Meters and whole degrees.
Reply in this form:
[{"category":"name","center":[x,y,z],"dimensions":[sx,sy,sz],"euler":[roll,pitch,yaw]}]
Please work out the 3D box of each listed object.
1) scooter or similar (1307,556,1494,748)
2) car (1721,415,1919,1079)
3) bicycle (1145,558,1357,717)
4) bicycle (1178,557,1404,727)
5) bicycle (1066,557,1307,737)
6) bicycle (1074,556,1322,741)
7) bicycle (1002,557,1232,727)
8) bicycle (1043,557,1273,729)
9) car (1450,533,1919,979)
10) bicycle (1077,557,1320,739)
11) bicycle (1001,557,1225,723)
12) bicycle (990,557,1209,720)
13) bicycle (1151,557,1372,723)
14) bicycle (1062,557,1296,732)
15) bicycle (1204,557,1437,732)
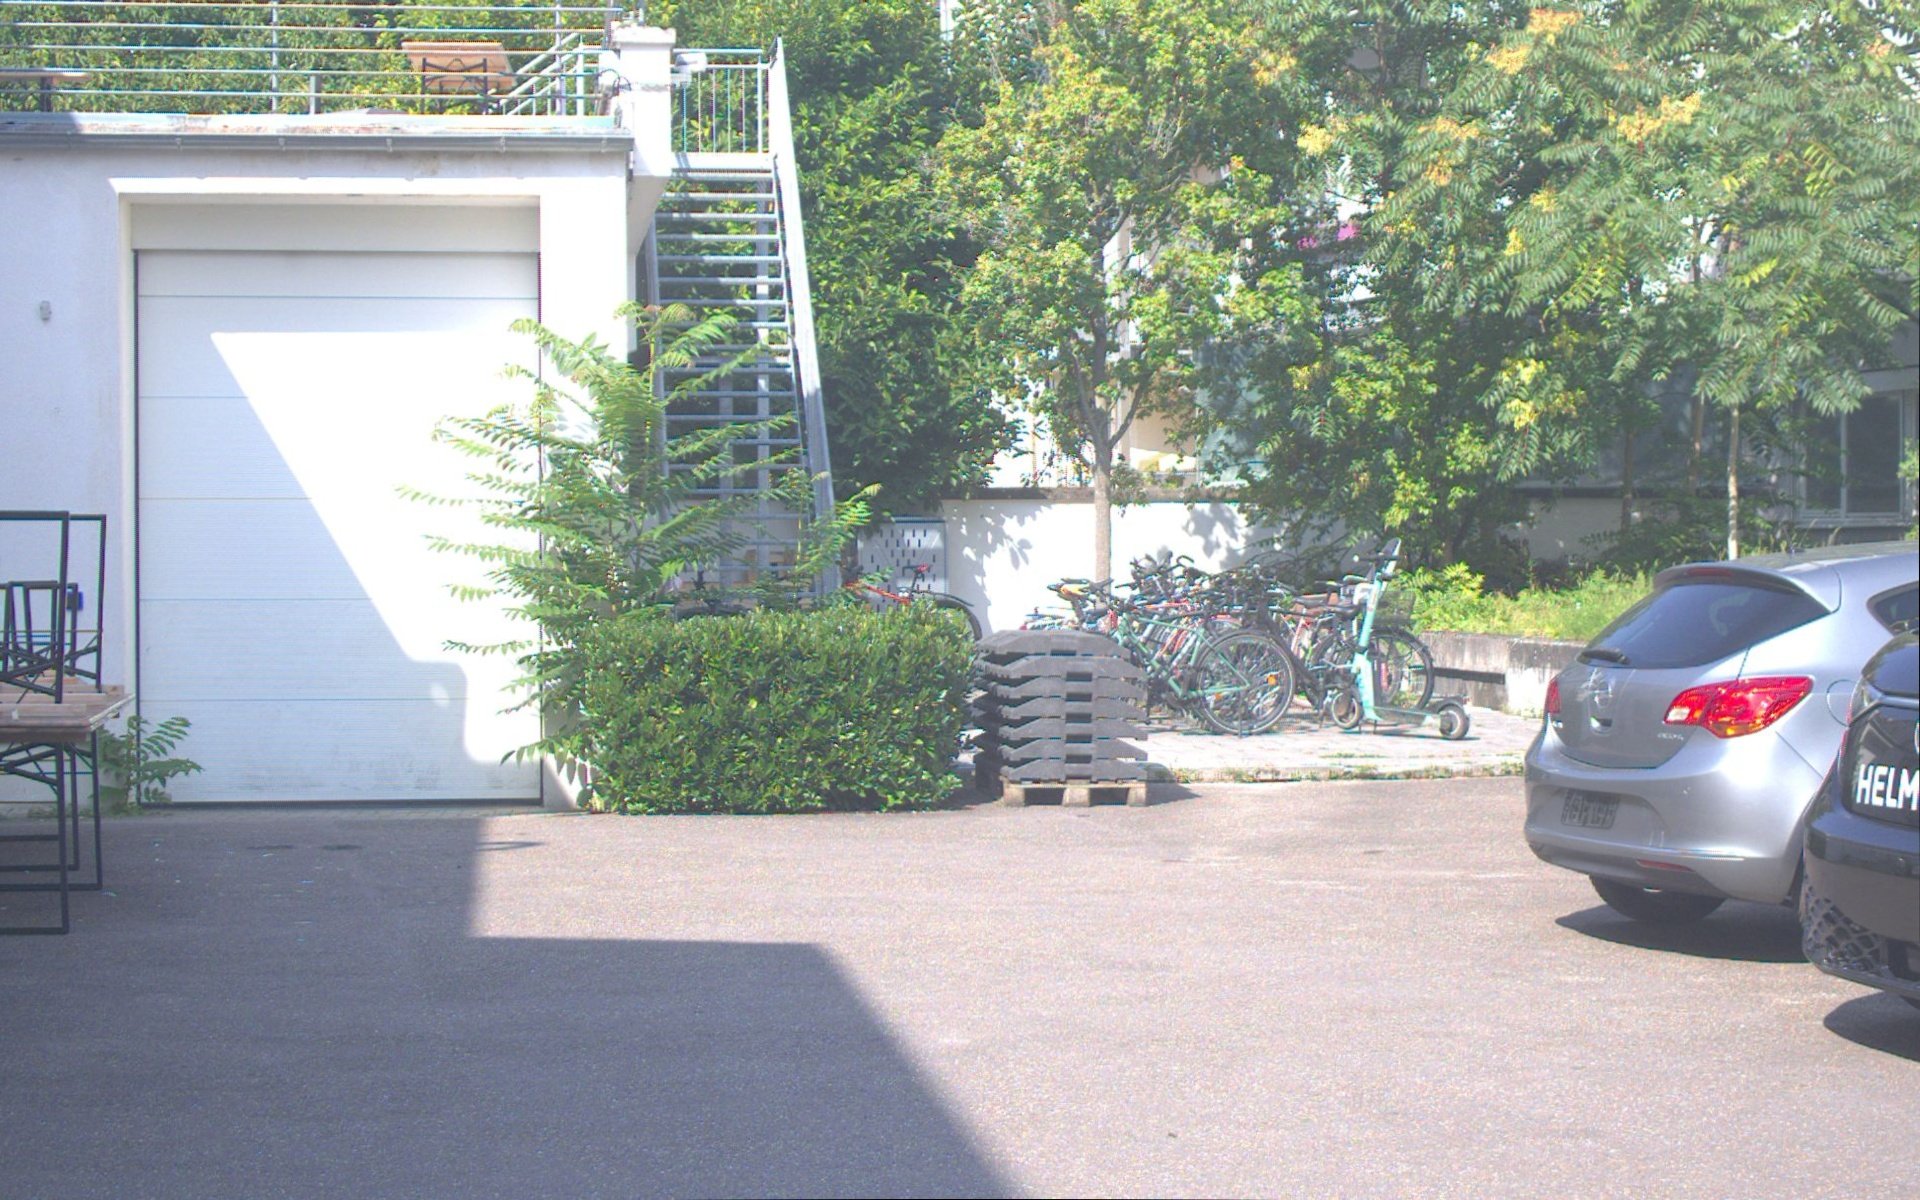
[{"category":"scooter or similar","center":[2.966,0.336,23.229],"dimensions":[0.378,1.256,1.348],"euler":[-2,1,-39]},{"category":"car","center":[4.708,0.367,10.007],"dimensions":[4.499,1.788,1.884],"euler":[-1,0,-16]},{"category":"bicycle","center":[2.273,0.290,26.847],"dimensions":[1.623,1.210,0.424],"euler":[-1,1,5]},{"category":"bicycle","center":[2.431,0.307,25.252],"dimensions":[1.623,1.210,0.424],"euler":[-1,1,6]},{"category":"bicycle","center":[1.572,0.318,23.930],"dimensions":[1.623,1.210,0.327],"euler":[-1,1,-5]},{"category":"bicycle","center":[1.612,0.325,23.315],"dimensions":[1.623,1.210,0.327],"euler":[-1,1,-5]},{"category":"bicycle","center":[1.156,0.302,25.383],"dimensions":[1.623,1.210,0.424],"euler":[-1,1,-8]},{"category":"bicycle","center":[1.428,0.309,24.734],"dimensions":[1.623,1.210,0.327],"euler":[-1,1,6]},{"category":"car","center":[4.015,0.494,12.833],"dimensions":[3.931,1.477,1.775],"euler":[-1,0,-16]},{"category":"bicycle","center":[1.638,0.321,23.642],"dimensions":[1.623,1.210,0.327],"euler":[-1,1,-5]},{"category":"bicycle","center":[1.160,0.295,26.023],"dimensions":[1.622,1.210,0.424],"euler":[-1,1,-12]},{"category":"bicycle","center":[1.079,0.288,26.620],"dimensions":[1.622,1.210,0.424],"euler":[-1,1,-12]},{"category":"bicycle","center":[2.260,0.301,25.812],"dimensions":[1.623,1.210,0.424],"euler":[-1,1,5]},{"category":"bicycle","center":[1.551,0.313,24.381],"dimensions":[1.623,1.210,0.327],"euler":[-1,1,3]},{"category":"bicycle","center":[2.561,0.316,24.401],"dimensions":[1.623,1.210,0.327],"euler":[-1,1,8]}]
